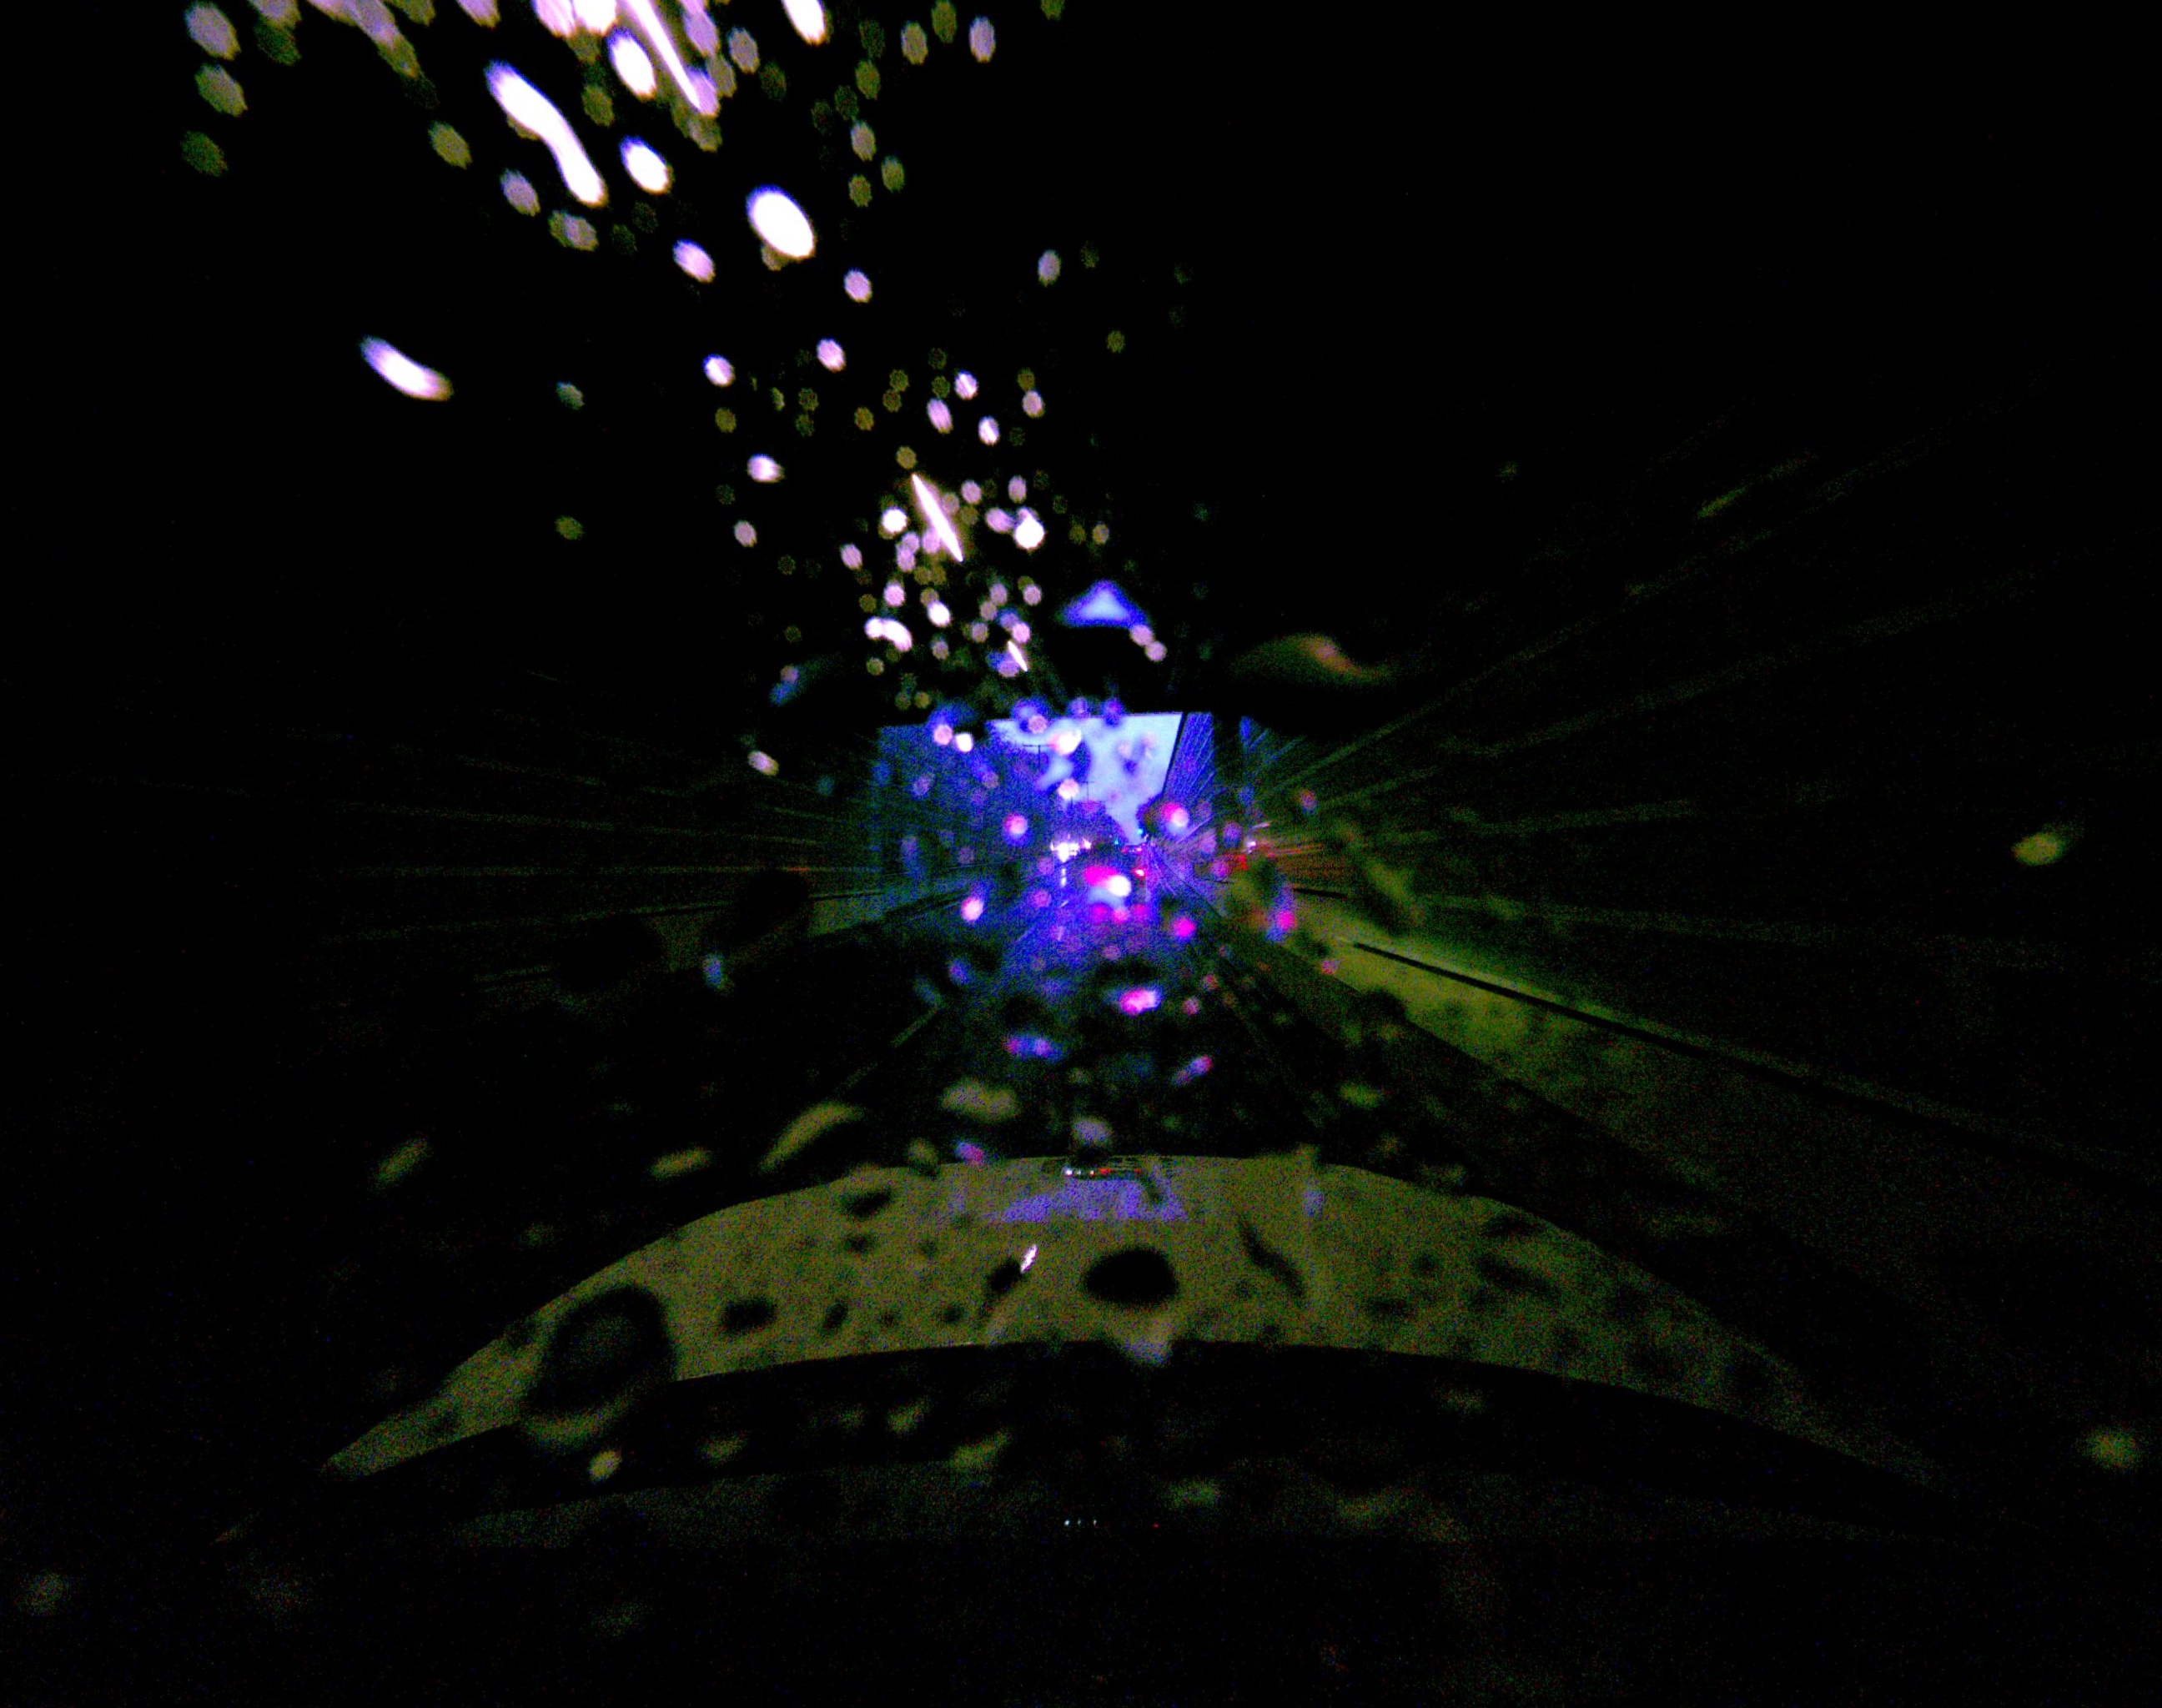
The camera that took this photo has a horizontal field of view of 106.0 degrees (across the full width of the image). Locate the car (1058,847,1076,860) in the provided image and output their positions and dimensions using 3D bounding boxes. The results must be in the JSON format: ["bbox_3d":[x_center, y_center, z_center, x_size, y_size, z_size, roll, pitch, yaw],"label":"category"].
[{"bbox_3d":[-1.795,-0.012,104.977,1.872,1.621,4.004,0,-2,4],"label":"car"}]

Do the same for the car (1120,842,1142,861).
[{"bbox_3d":[4.558,-0.222,74.738,1.873,1.621,4.001,0,-2,2],"label":"car"}]

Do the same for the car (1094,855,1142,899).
[{"bbox_3d":[1.303,0.758,27.953,1.525,1.397,3.437,-1,0,4],"label":"car"}]
